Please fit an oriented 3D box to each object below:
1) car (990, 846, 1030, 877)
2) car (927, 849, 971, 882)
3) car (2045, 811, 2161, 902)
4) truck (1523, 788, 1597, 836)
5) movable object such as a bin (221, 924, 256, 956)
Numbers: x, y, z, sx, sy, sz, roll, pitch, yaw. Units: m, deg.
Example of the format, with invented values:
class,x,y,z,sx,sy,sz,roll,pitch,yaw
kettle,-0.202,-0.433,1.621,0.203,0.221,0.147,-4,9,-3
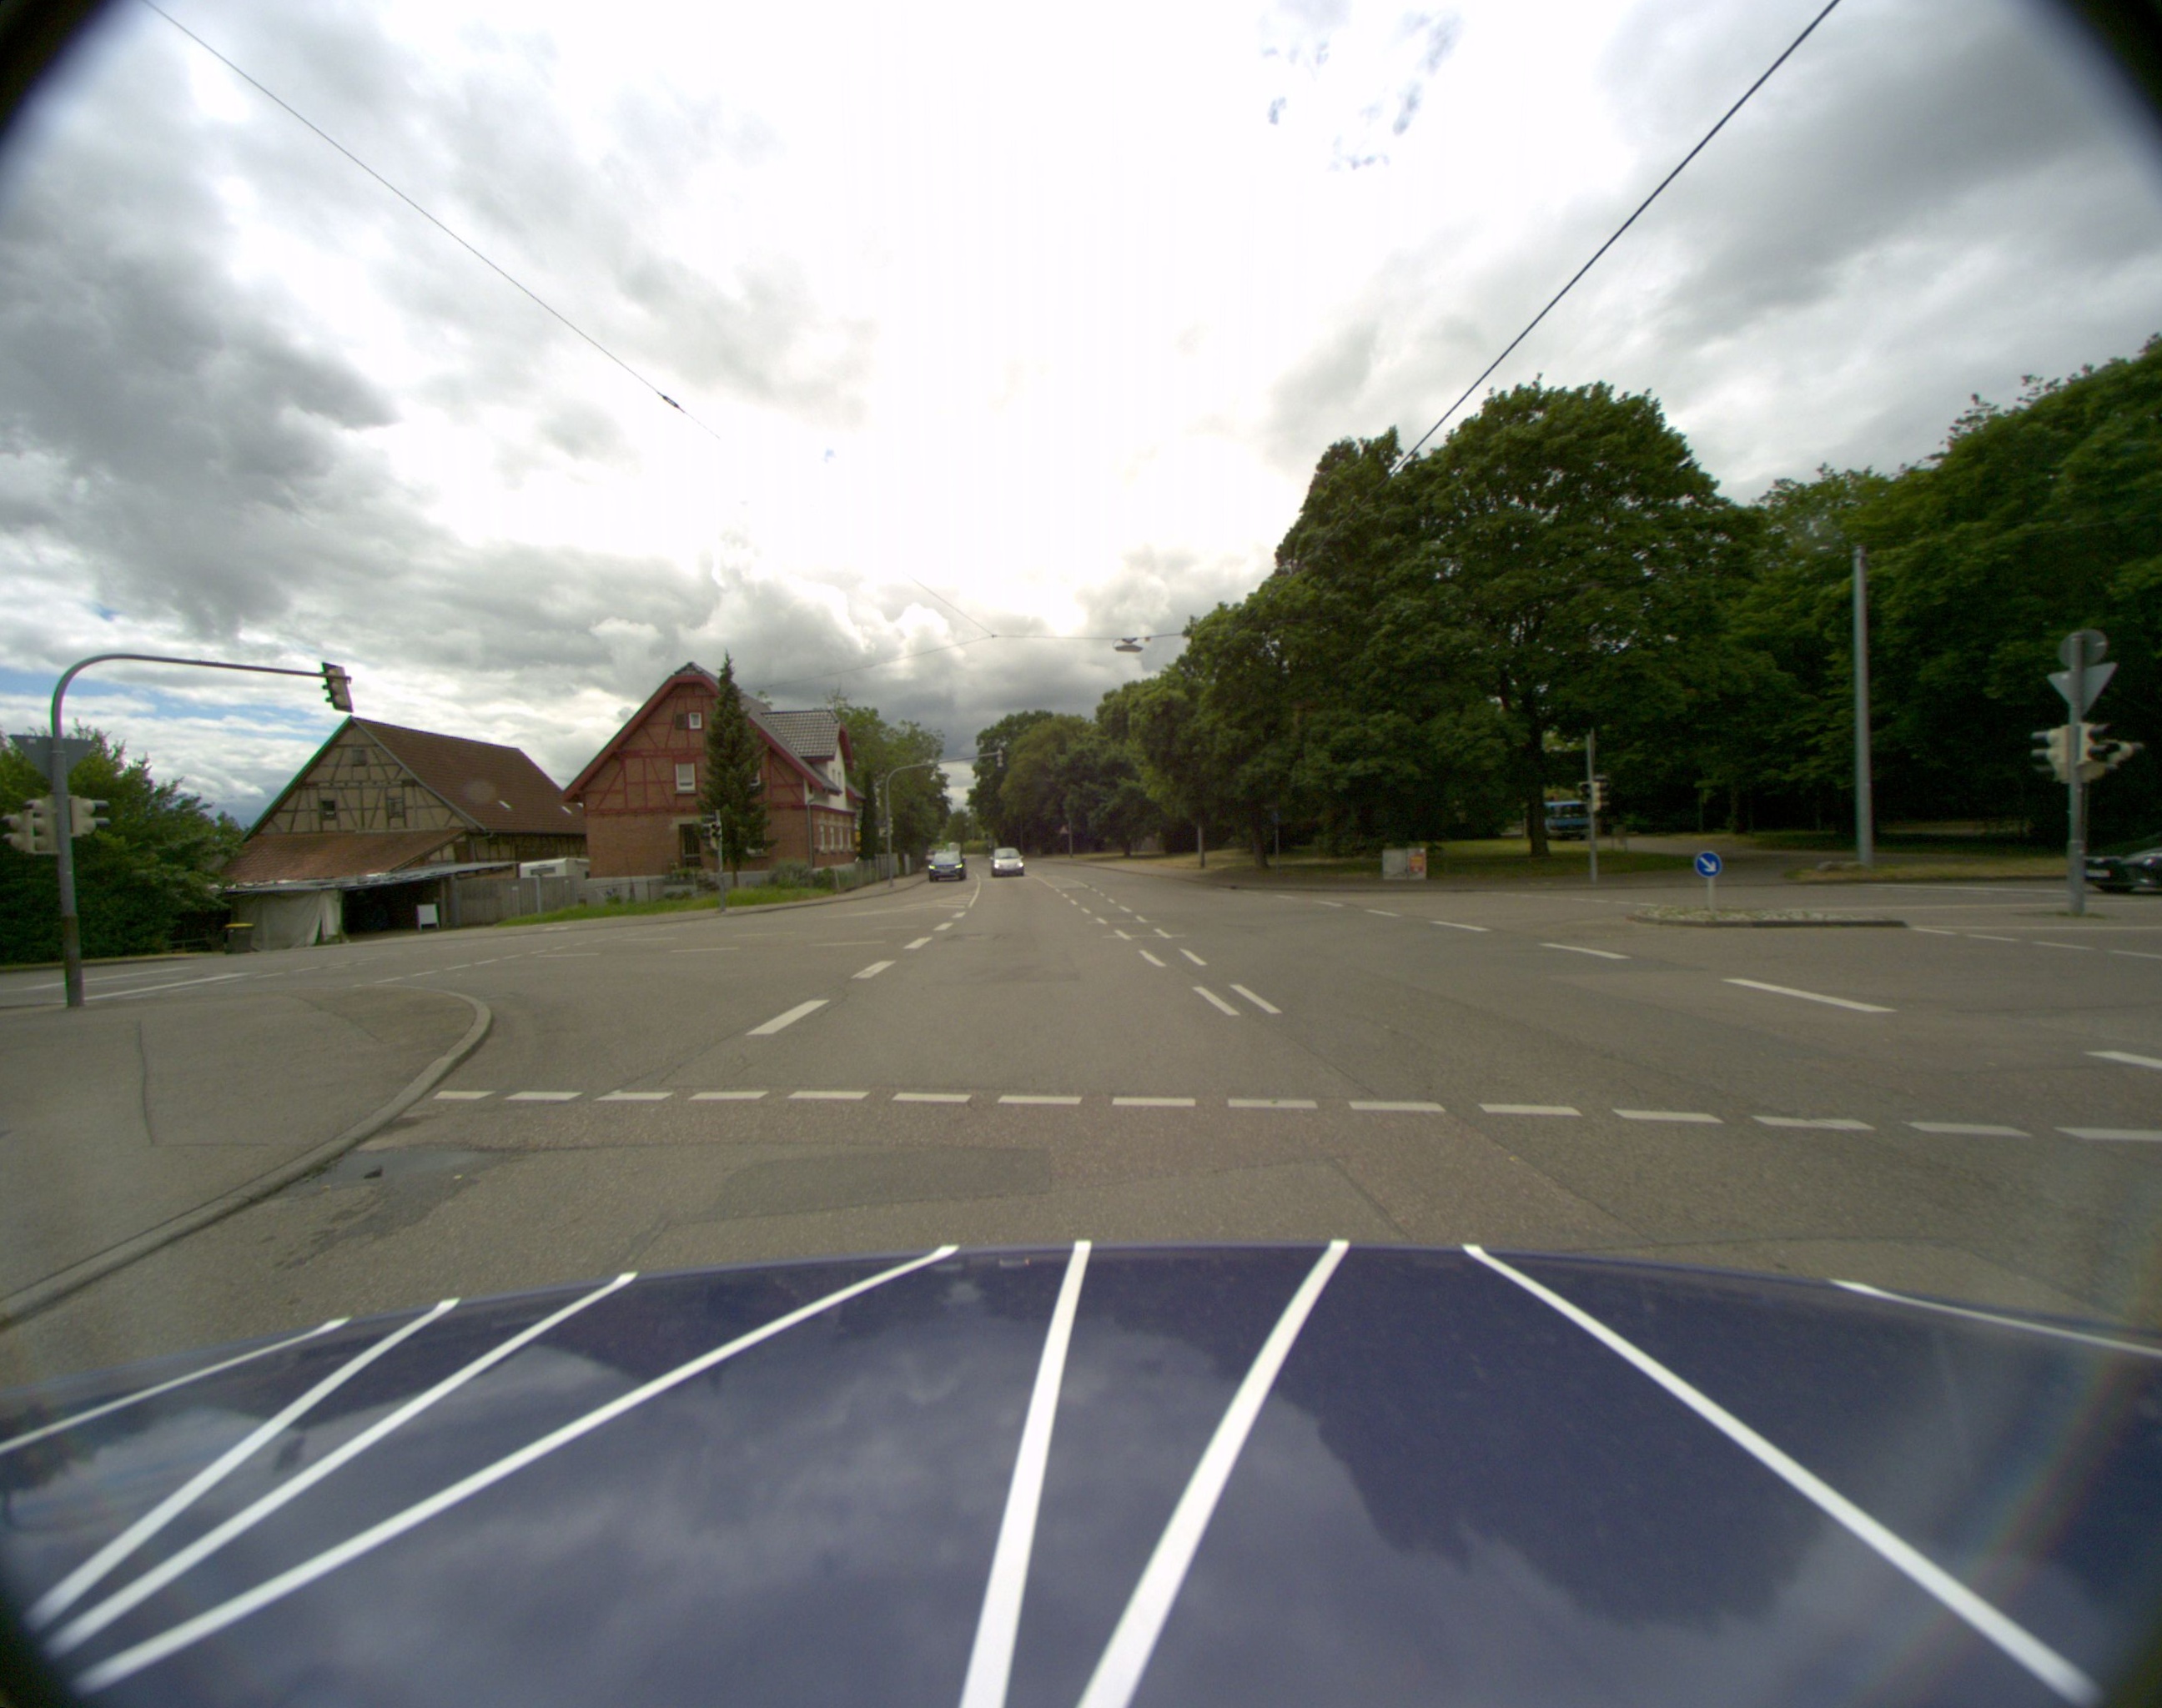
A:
class,x,y,z,sx,sy,sz,roll,pitch,yaw
car,-4.112,0.391,43.371,1.781,1.510,3.553,-4,2,-12
car,-6.976,0.582,40.435,1.927,1.510,3.997,-3,2,-5
car,21.740,-0.028,14.313,3.992,1.609,2.002,-2,2,19
truck,31.387,-2.711,50.109,2.477,2.831,7.441,-2,2,19
movable object such as a bin,-26.279,2.679,23.699,0.601,0.901,0.594,-1,2,35
